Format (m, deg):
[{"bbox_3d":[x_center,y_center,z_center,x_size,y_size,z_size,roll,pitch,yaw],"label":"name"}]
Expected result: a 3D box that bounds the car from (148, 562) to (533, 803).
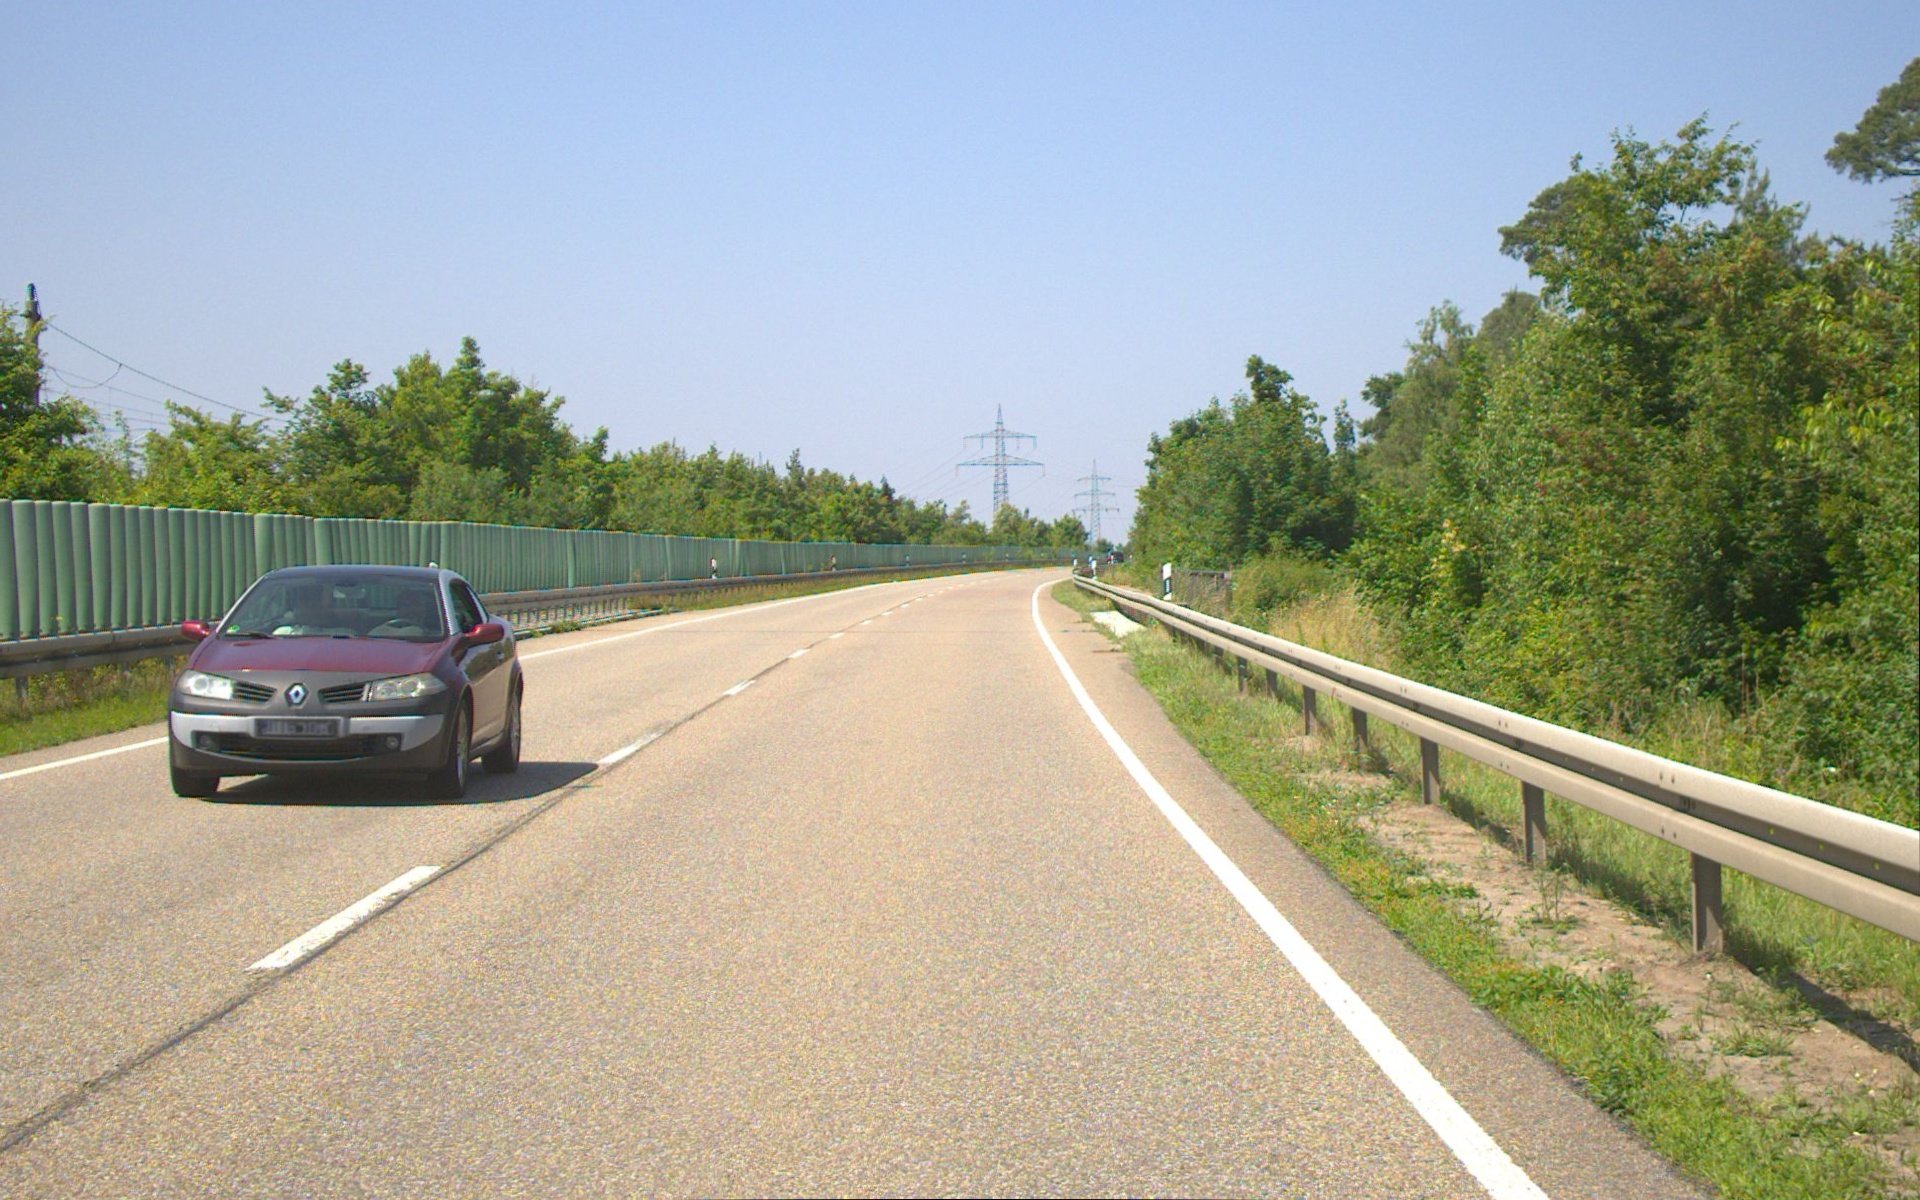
[{"bbox_3d":[-3.839,0.460,21.905,1.786,1.367,3.897,0,1,-1],"label":"car"}]
